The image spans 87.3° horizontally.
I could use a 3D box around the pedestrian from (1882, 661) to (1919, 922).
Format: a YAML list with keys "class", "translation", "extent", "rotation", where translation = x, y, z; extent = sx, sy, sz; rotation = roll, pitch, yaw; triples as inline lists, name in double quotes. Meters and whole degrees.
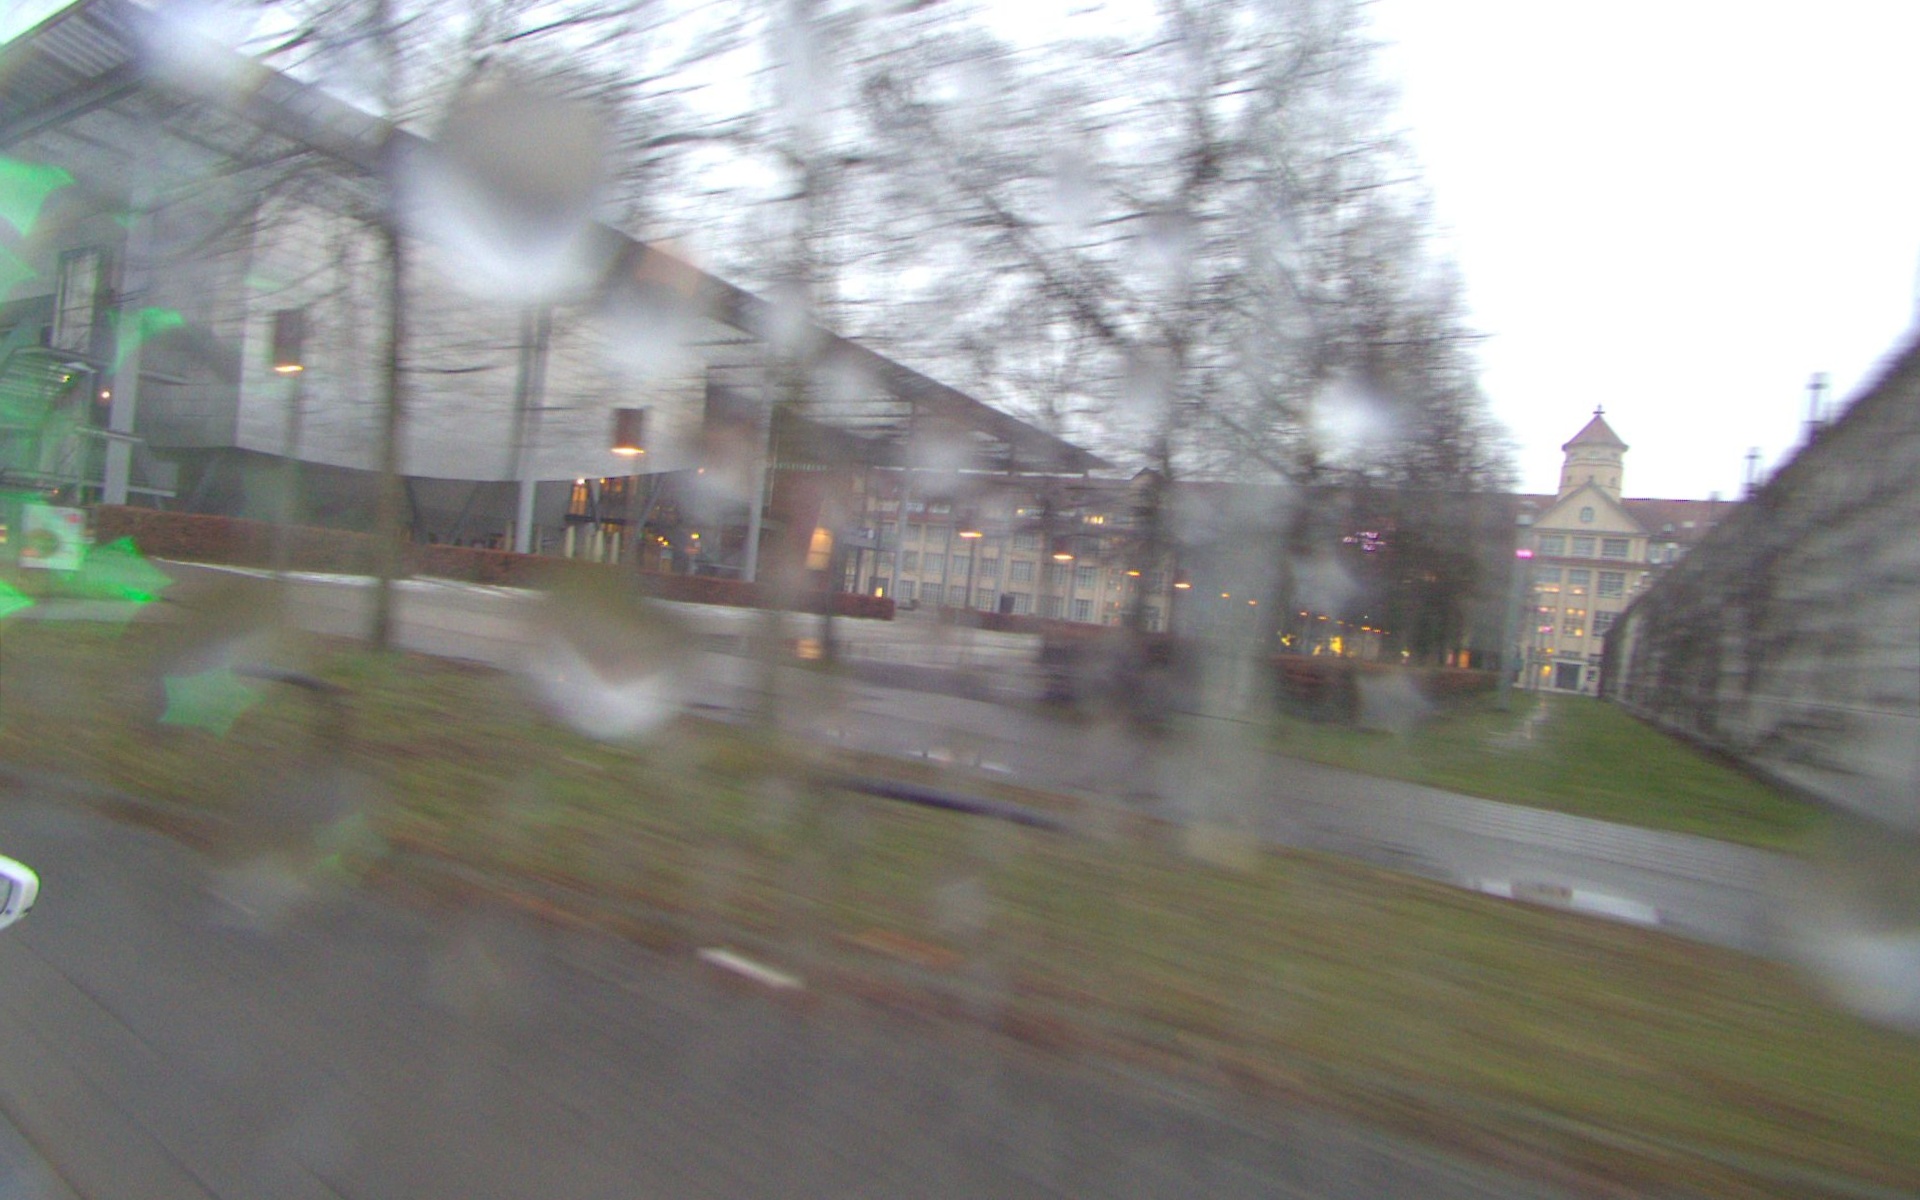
- class: "pedestrian"
  translation: [6.496, 1.267, 6.510]
  extent: [0.671, 1.644, 0.607]
  rotation: [8, -1, -43]
